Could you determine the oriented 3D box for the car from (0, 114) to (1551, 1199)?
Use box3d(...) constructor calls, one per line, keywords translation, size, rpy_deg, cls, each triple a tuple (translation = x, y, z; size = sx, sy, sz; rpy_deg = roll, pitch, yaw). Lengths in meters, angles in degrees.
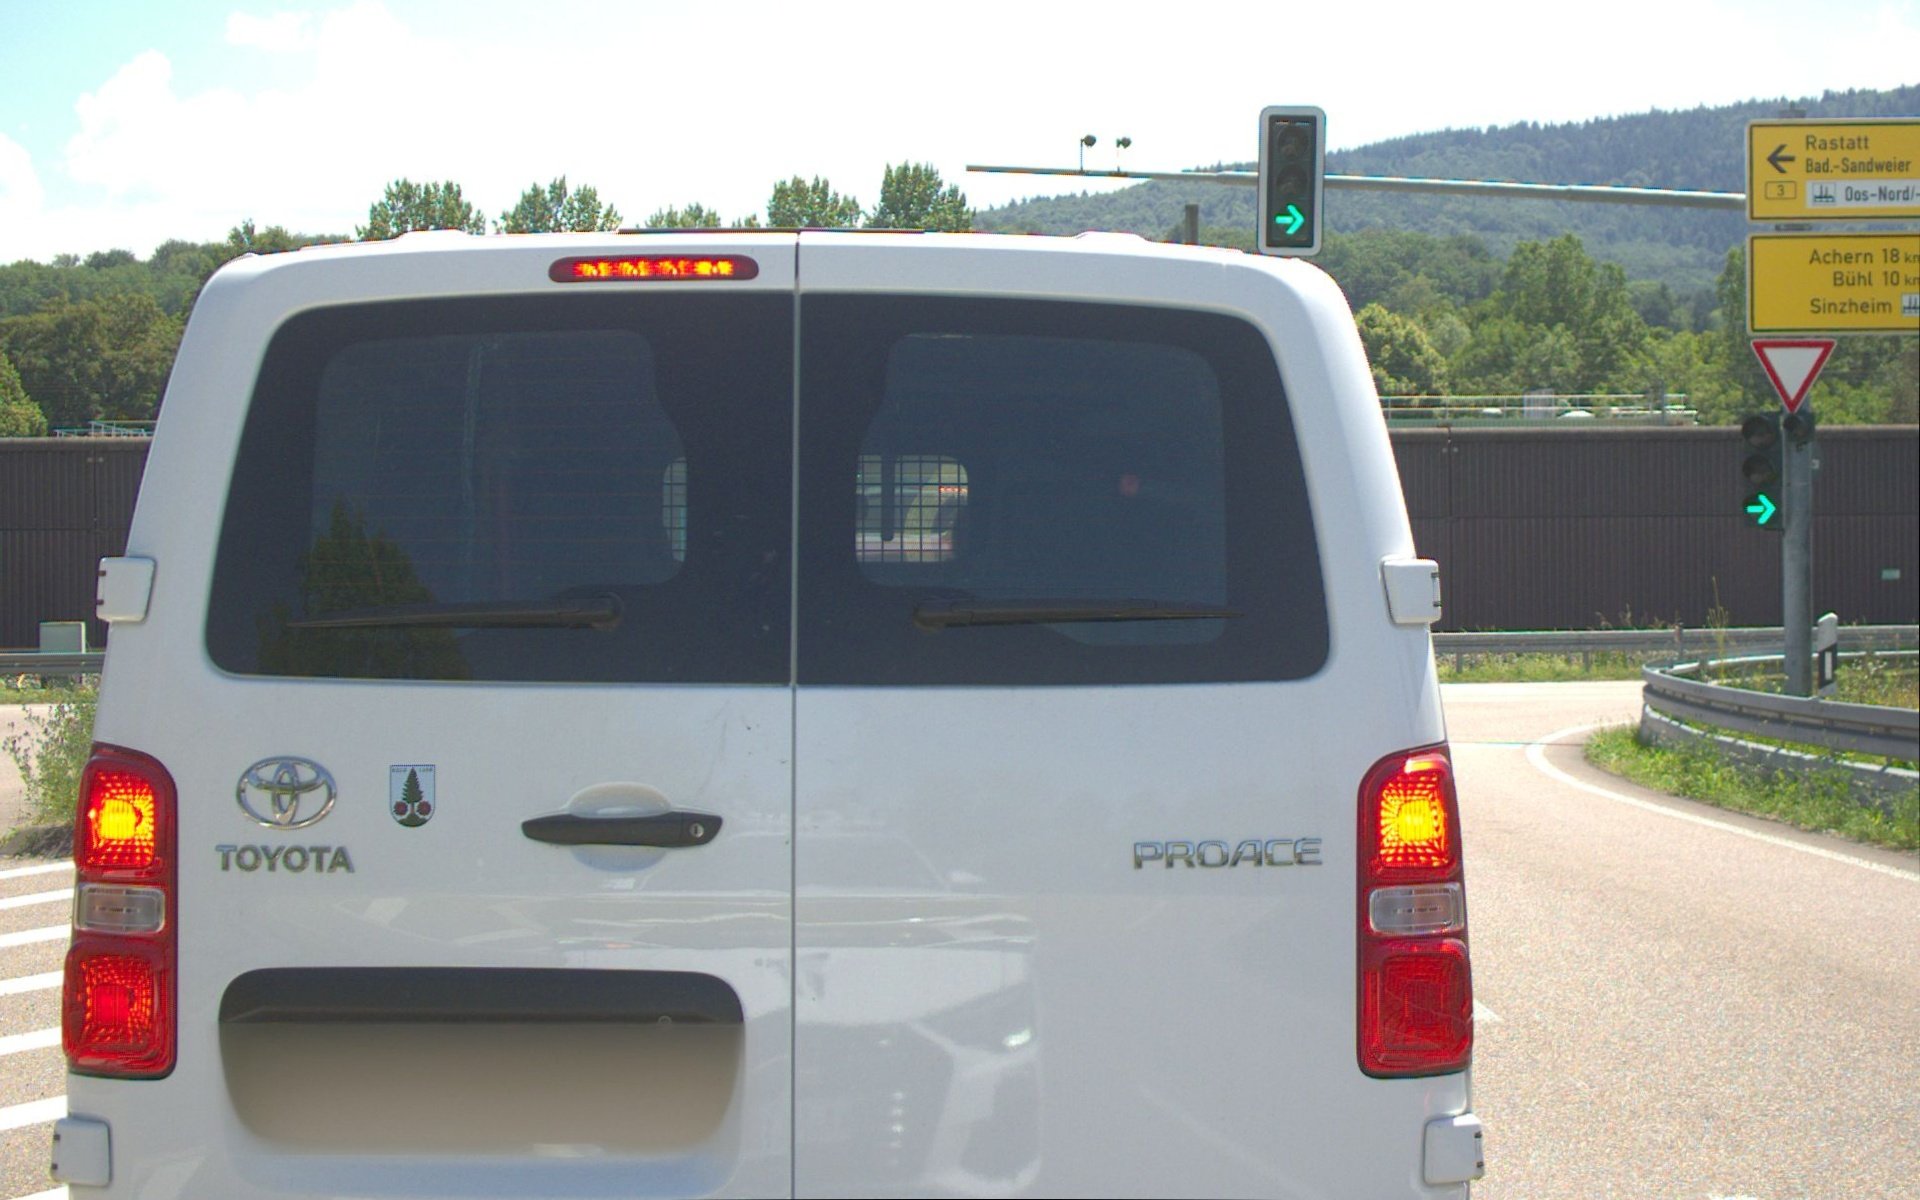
box3d(translation=(-0.258, 0.434, 5.933), size=(1.814, 2.011, 4.000), rpy_deg=(0, 1, -1), cls="car")
